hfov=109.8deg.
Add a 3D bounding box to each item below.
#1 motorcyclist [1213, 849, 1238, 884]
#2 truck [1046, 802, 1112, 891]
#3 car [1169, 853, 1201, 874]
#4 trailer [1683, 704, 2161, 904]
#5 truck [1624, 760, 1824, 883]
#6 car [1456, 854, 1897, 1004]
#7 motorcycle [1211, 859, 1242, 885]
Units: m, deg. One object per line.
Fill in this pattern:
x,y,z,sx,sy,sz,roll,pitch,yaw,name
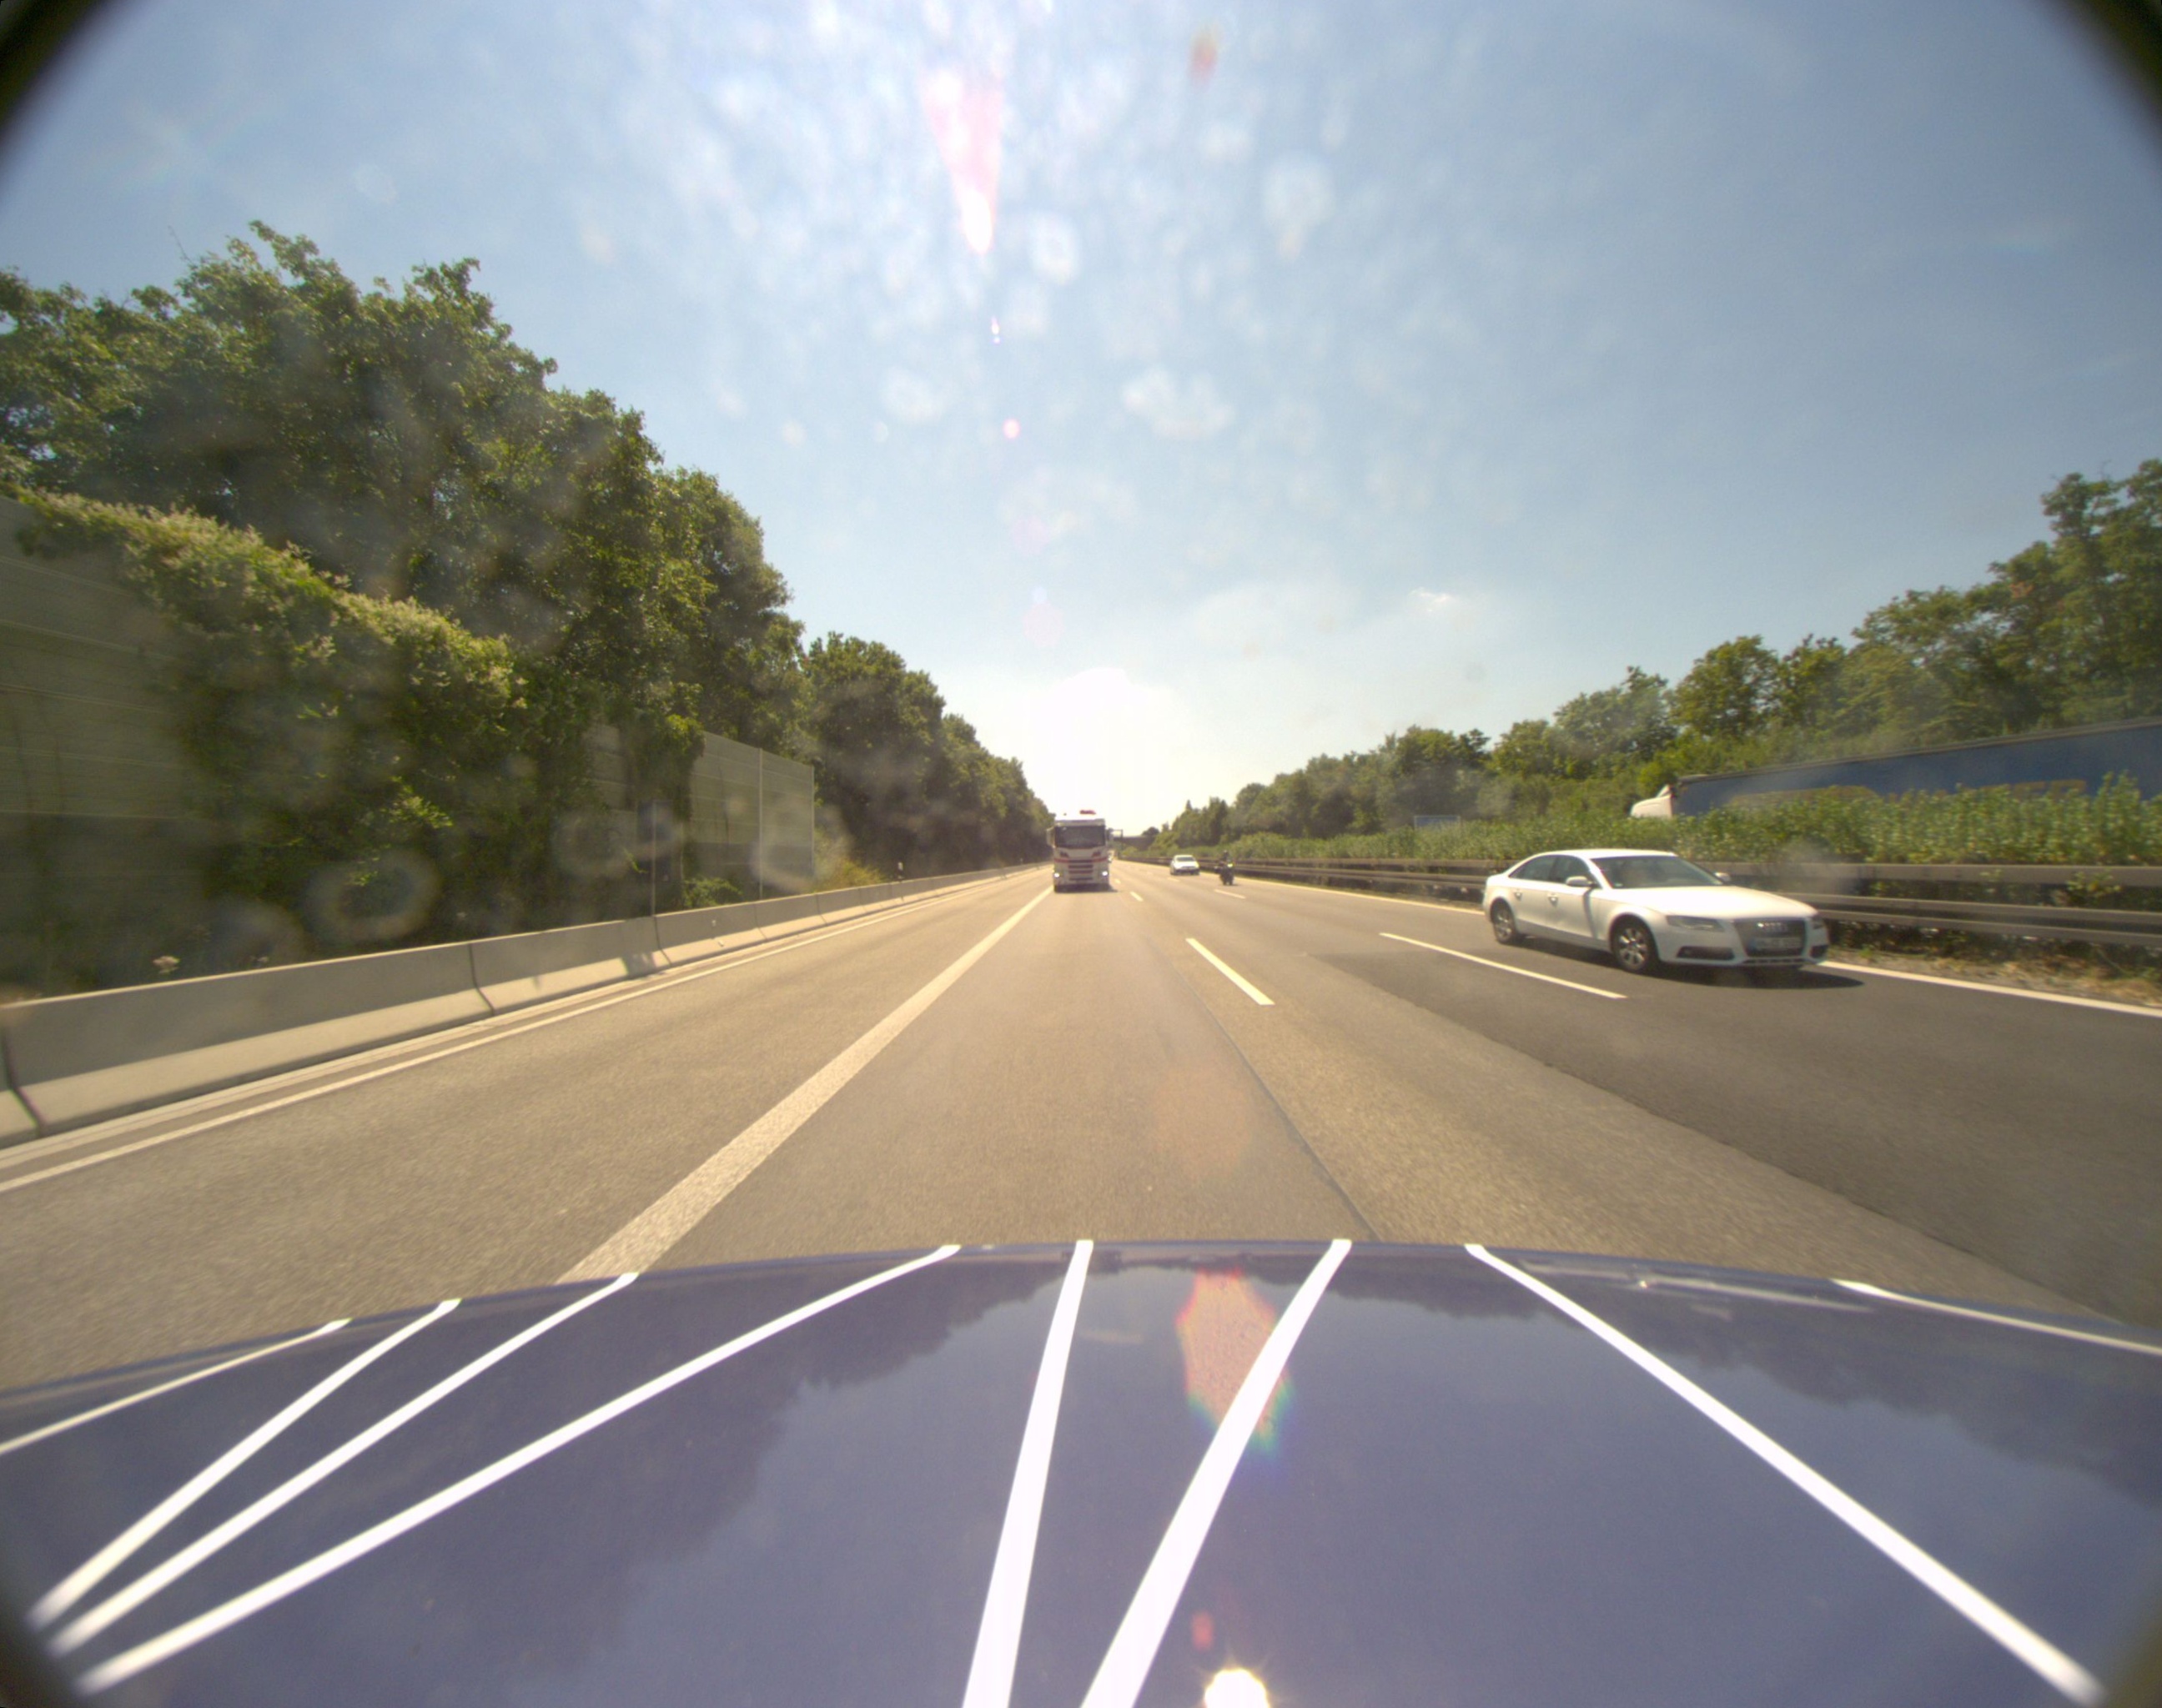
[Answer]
6.923,0.598,36.403,0.895,1.588,1.299,-3,2,0,motorcyclist
0.018,-0.280,38.626,2.721,3.779,10.673,-3,-1,1,truck
7.539,0.649,55.388,1.786,1.432,4.669,-2,0,2,car
22.122,-1.011,19.452,2.712,3.830,13.673,-2,0,1,trailer
22.239,-1.043,26.674,2.677,3.830,5.092,-2,0,1,truck
7.183,0.746,10.115,1.881,1.432,5.125,-2,0,1,car
6.936,0.852,36.381,0.915,1.082,2.849,-3,1,0,motorcycle
